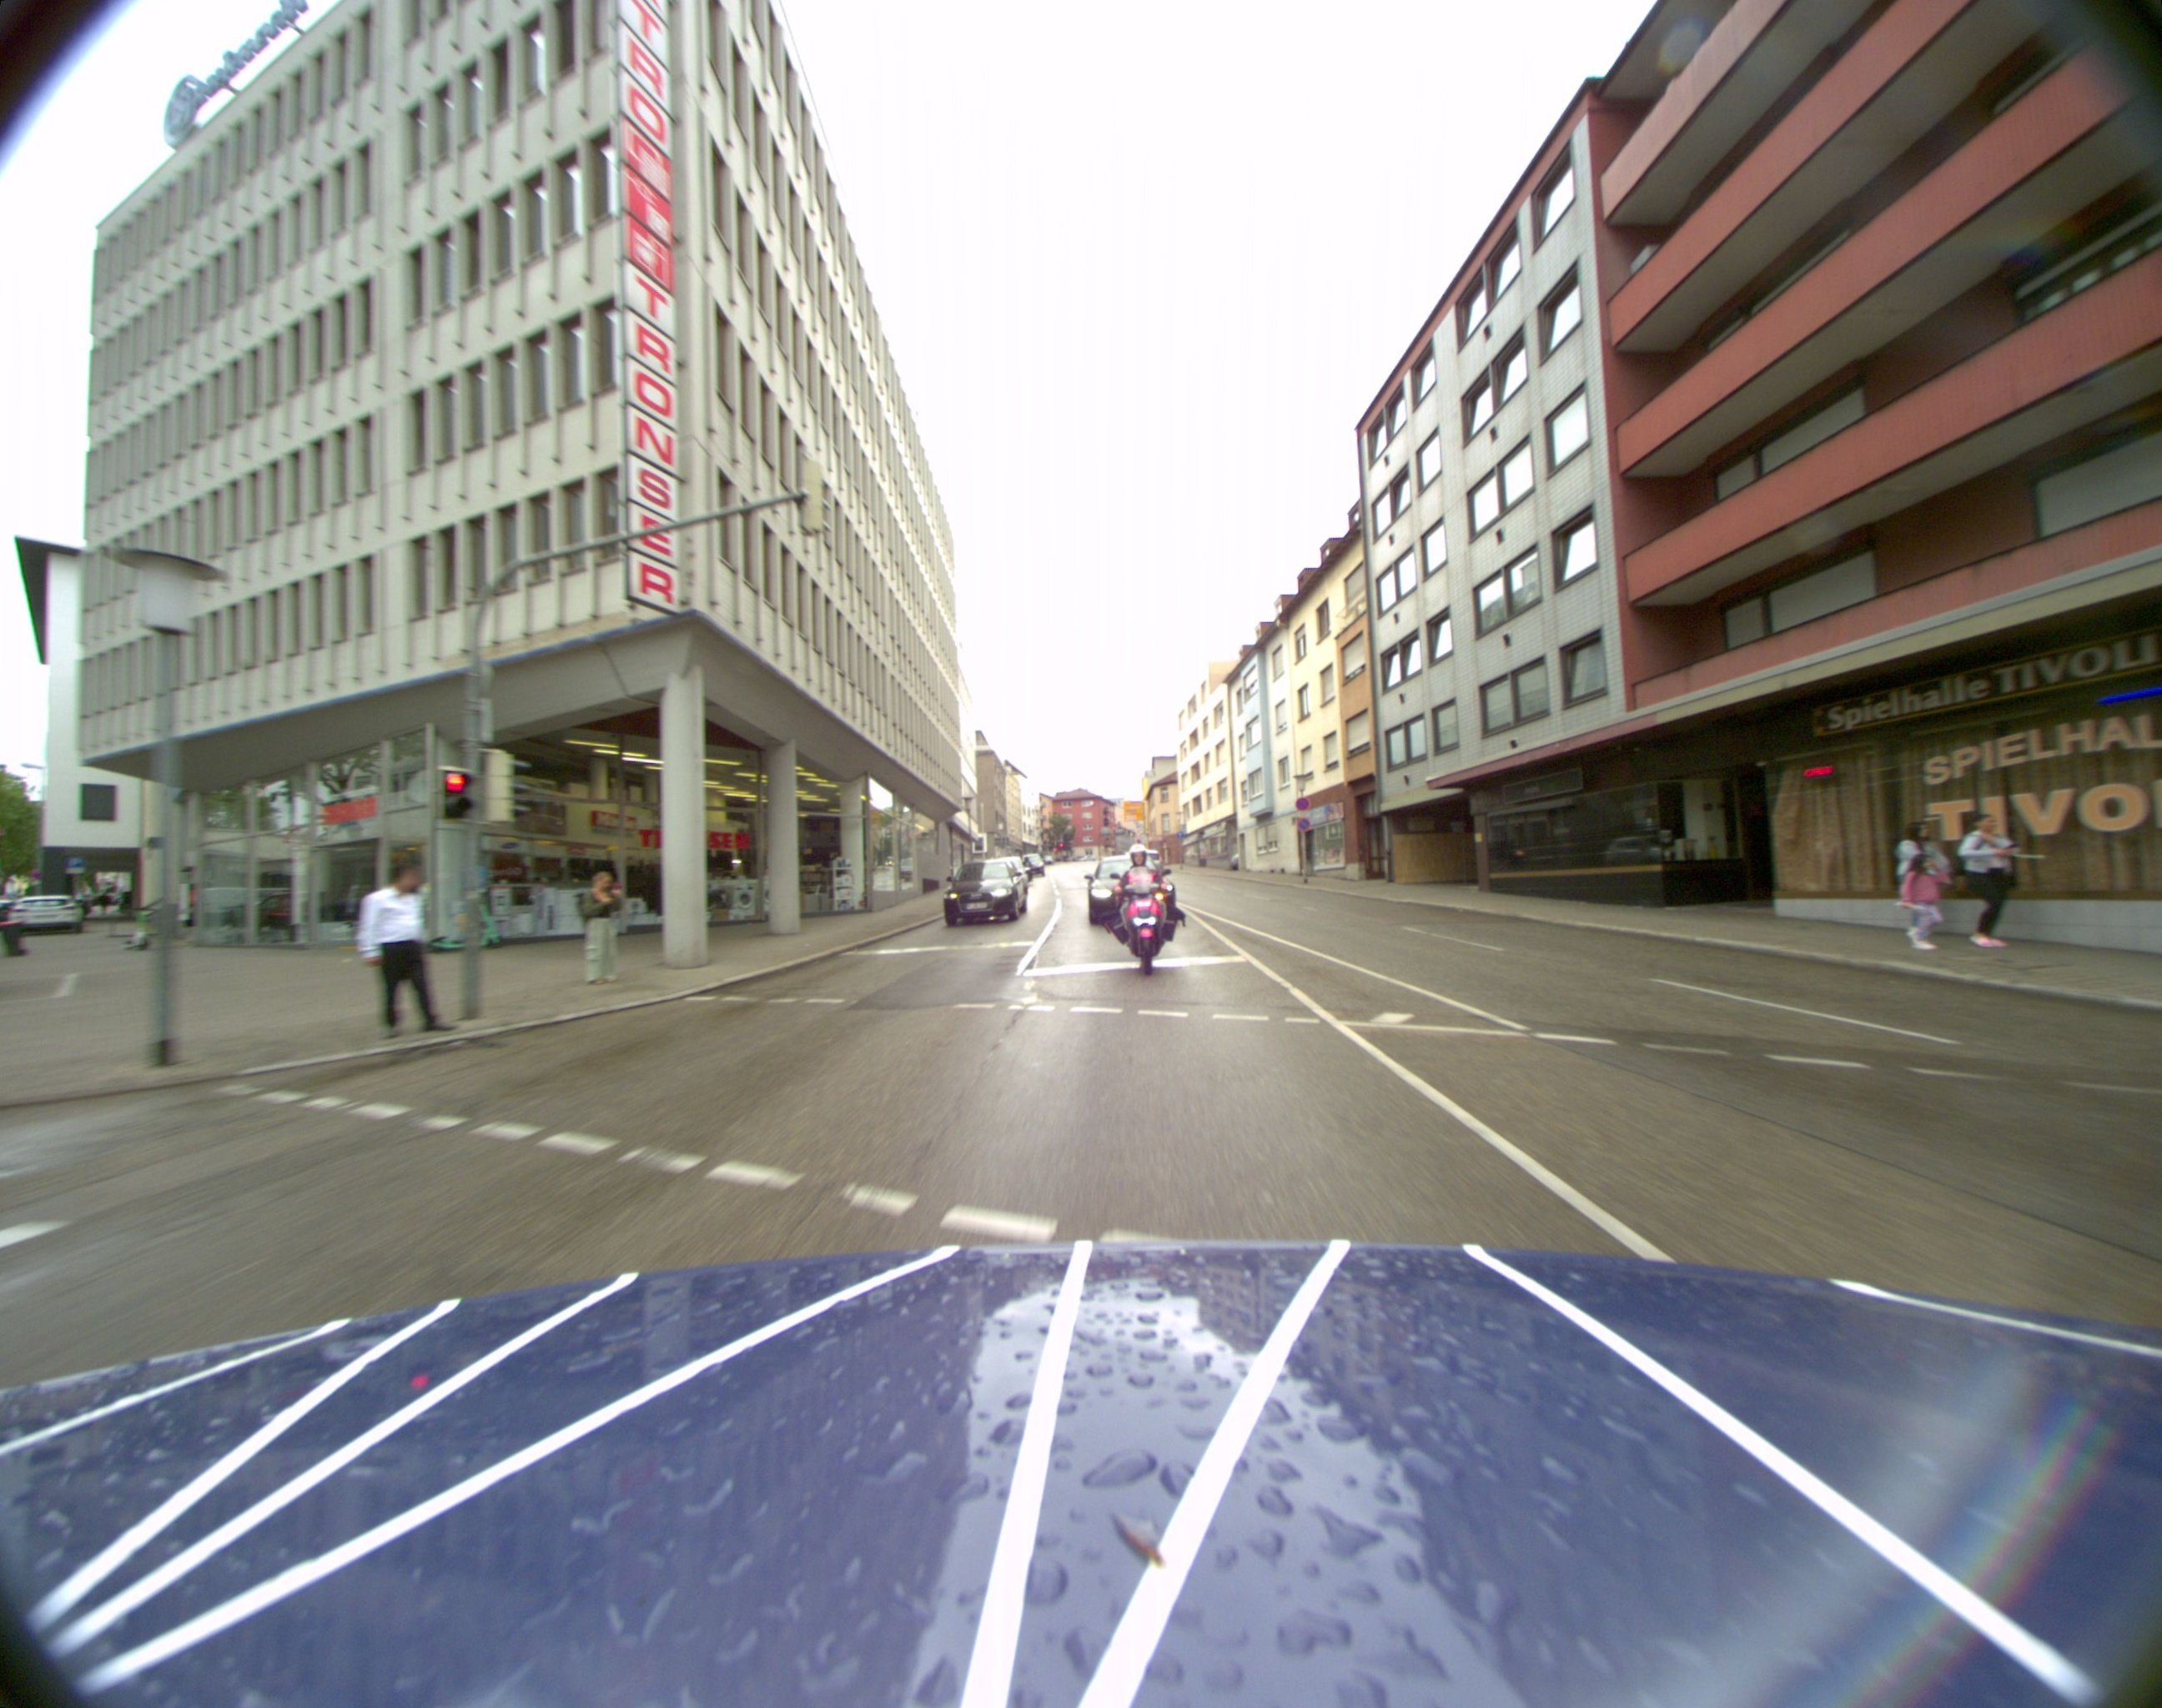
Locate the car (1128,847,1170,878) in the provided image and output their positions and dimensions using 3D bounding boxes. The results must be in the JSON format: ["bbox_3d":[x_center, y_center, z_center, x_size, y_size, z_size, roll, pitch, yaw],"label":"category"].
[{"bbox_3d":[3.671,0.434,41.778,1.740,1.584,4.173,0,1,-3],"label":"car"}]

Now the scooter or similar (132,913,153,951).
[{"bbox_3d":[-25.535,2.109,20.667,0.812,0.993,0.220,-2,1,31],"label":"scooter or similar"}]

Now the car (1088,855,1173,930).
[{"bbox_3d":[1.090,0.832,18.576,1.706,1.452,4.318,-5,0,0],"label":"car"}]

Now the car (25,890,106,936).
[{"bbox_3d":[-44.908,2.555,33.613,3.989,1.771,2.004,-2,1,36],"label":"car"}]

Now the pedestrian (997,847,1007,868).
[{"bbox_3d":[-6.507,0.274,62.905,0.786,1.696,1.120,-1,1,-5],"label":"pedestrian"}]

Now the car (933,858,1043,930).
[{"bbox_3d":[-2.333,0.969,20.271,1.827,1.551,4.203,-4,0,7],"label":"car"}]

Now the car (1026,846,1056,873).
[{"bbox_3d":[-3.039,0.374,56.899,1.849,1.893,3.762,-3,1,-7],"label":"car"}]

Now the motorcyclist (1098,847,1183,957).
[{"bbox_3d":[0.787,0.627,10.380,1.010,1.373,0.834,-3,1,0],"label":"motorcyclist"}]

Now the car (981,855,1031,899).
[{"bbox_3d":[-3.193,0.909,32.343,1.831,1.532,4.250,-6,1,-6],"label":"car"}]

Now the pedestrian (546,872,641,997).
[{"bbox_3d":[-6.953,1.111,10.866,0.722,1.680,0.831,0,2,19],"label":"pedestrian"}]

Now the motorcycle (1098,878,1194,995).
[{"bbox_3d":[0.811,1.030,10.462,1.010,1.219,2.693,-3,1,0],"label":"motorcycle"}]

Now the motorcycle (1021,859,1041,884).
[{"bbox_3d":[-2.718,0.953,41.298,0.847,1.219,2.371,-6,1,-7],"label":"motorcycle"}]

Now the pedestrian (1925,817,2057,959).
[{"bbox_3d":[11.628,0.411,9.729,0.830,1.680,0.723,-5,1,-11],"label":"pedestrian"}]

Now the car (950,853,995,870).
[{"bbox_3d":[-11.920,0.827,83.511,4.532,1.495,2.000,-5,1,2],"label":"car"}]

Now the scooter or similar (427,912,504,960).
[{"bbox_3d":[-12.265,1.622,15.165,0.307,0.819,1.128,-2,1,40],"label":"scooter or similar"}]

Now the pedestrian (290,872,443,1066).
[{"bbox_3d":[-7.192,1.108,7.697,0.723,1.808,0.829,-1,2,-8],"label":"pedestrian"}]

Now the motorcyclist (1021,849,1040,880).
[{"bbox_3d":[-2.745,0.565,41.221,0.847,1.580,0.962,-6,1,-7],"label":"motorcyclist"}]

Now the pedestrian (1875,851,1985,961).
[{"bbox_3d":[10.928,0.645,9.799,0.535,1.315,0.723,-5,1,-11],"label":"pedestrian"}]

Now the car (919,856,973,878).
[{"bbox_3d":[-10.956,1.038,61.595,4.003,1.521,1.761,-3,1,-18],"label":"car"}]

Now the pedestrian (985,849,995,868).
[{"bbox_3d":[-7.415,0.359,61.850,0.767,1.542,0.890,0,1,-5],"label":"pedestrian"}]

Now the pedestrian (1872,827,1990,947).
[{"bbox_3d":[11.810,0.440,10.577,0.830,1.552,0.723,-5,1,-11],"label":"pedestrian"}]
